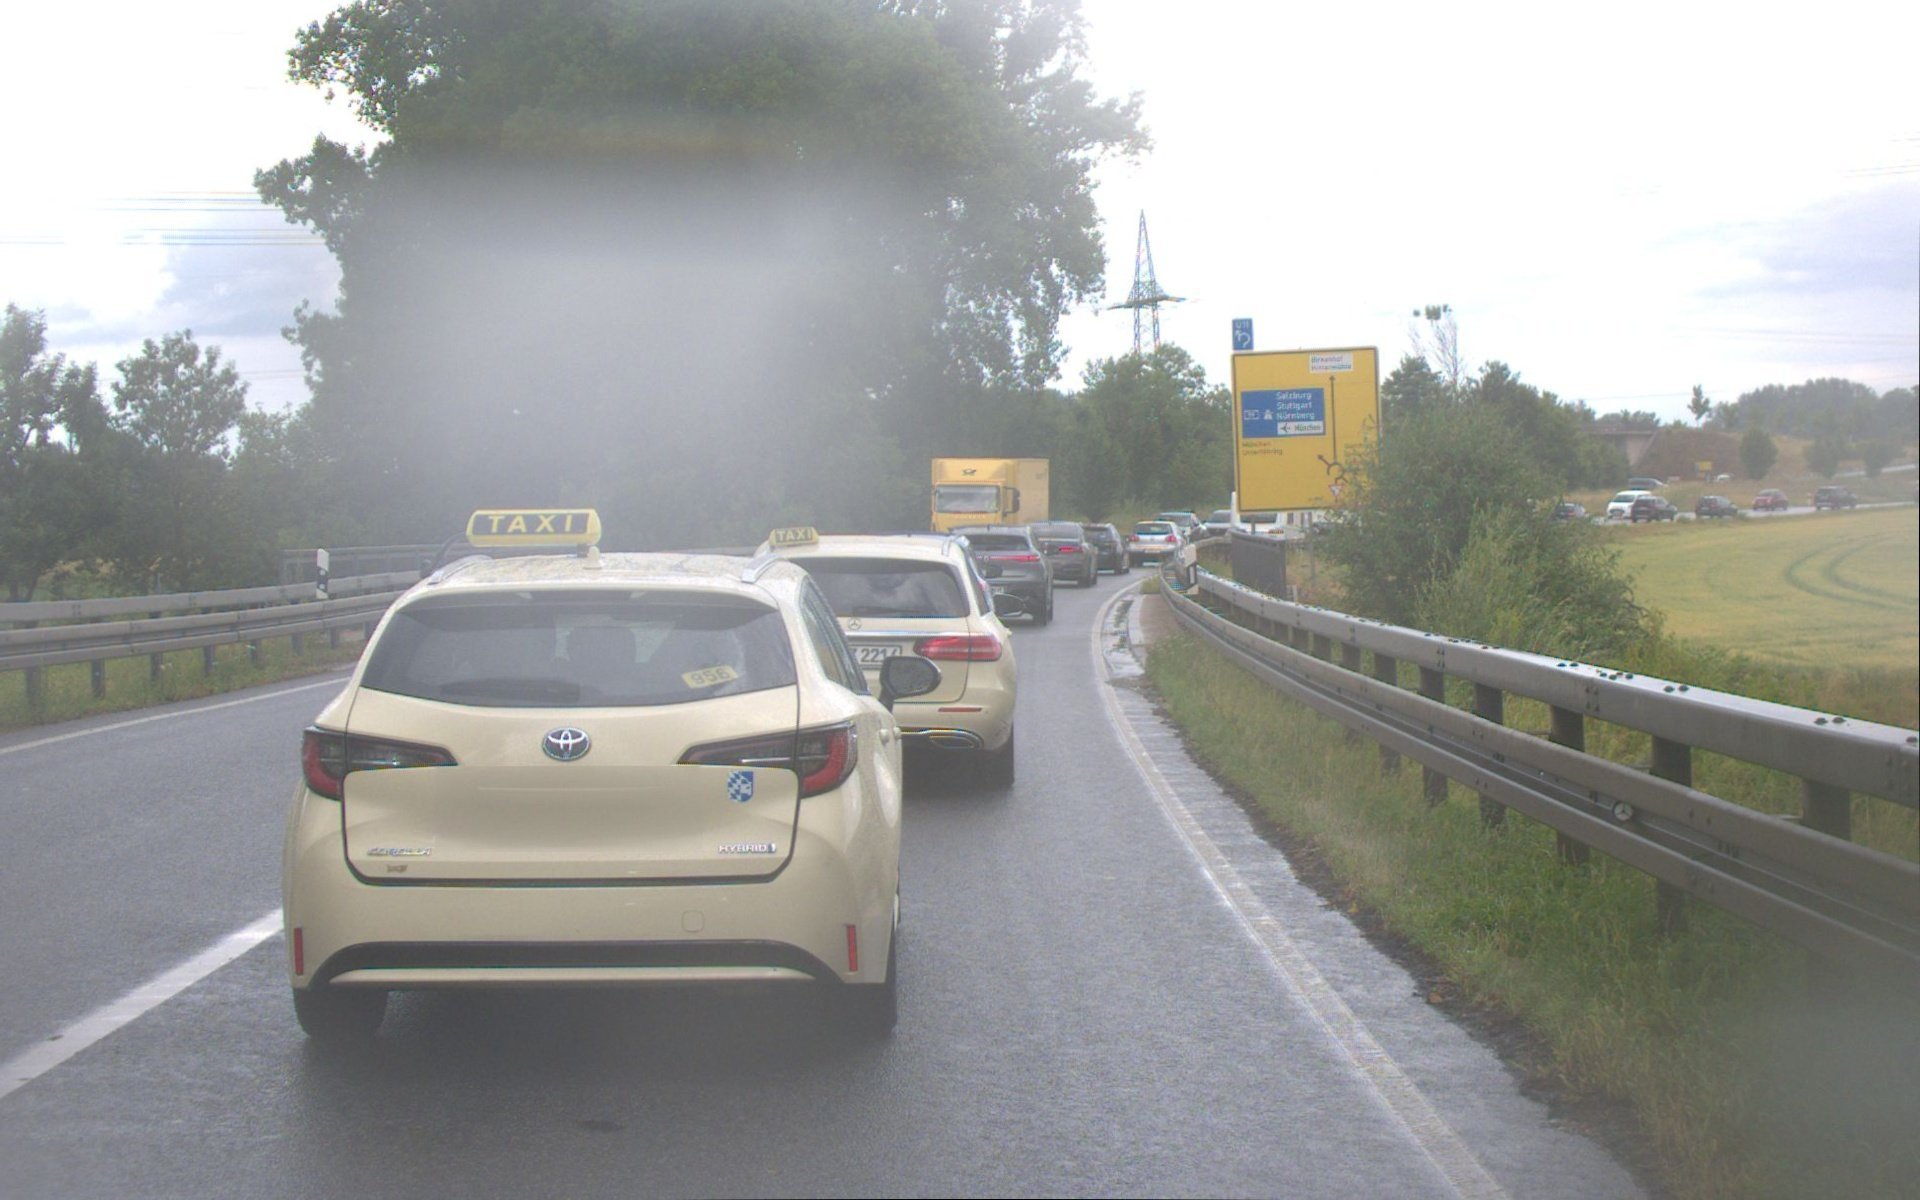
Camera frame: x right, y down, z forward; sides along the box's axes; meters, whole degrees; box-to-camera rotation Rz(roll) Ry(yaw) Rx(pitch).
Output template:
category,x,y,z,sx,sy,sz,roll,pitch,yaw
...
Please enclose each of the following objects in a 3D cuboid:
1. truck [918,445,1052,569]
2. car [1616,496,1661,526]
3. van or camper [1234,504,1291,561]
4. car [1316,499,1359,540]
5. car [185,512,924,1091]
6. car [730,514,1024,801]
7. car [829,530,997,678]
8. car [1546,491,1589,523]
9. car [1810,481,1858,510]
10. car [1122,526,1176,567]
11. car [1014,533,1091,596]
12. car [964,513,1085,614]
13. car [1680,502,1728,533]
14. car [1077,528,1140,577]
category,x,y,z,sx,sy,sz,roll,pitch,yaw
truck,0.826,-2.874,103.228,2.771,3.417,9.186,2,3,8
car,43.936,-5.751,222.472,1.821,1.831,3.983,1,1,27
van or camper,12.247,-2.700,138.836,1.994,2.246,3.999,1,1,9
car,17.358,-3.686,158.001,1.732,1.813,3.998,1,1,10
car,-1.097,0.496,11.187,1.906,1.532,4.162,0,1,0
car,-0.422,0.279,20.627,1.578,1.567,3.681,0,1,2
car,-0.439,0.011,35.297,1.506,1.432,3.355,0,1,3
car,36.652,-5.602,207.298,1.922,1.831,3.996,1,1,19
car,63.796,-7.634,250.876,2.145,2.007,3.992,1,1,35
car,6.172,-1.755,112.029,1.483,1.304,3.476,0,1,8
car,2.136,-0.799,78.618,1.660,1.404,3.904,0,0,3
car,0.934,-0.557,51.582,1.665,1.459,3.477,0,1,-1
car,50.282,-5.558,232.337,1.997,2.007,3.993,1,1,31
car,4.083,-1.308,94.350,1.483,1.304,3.476,0,1,7
